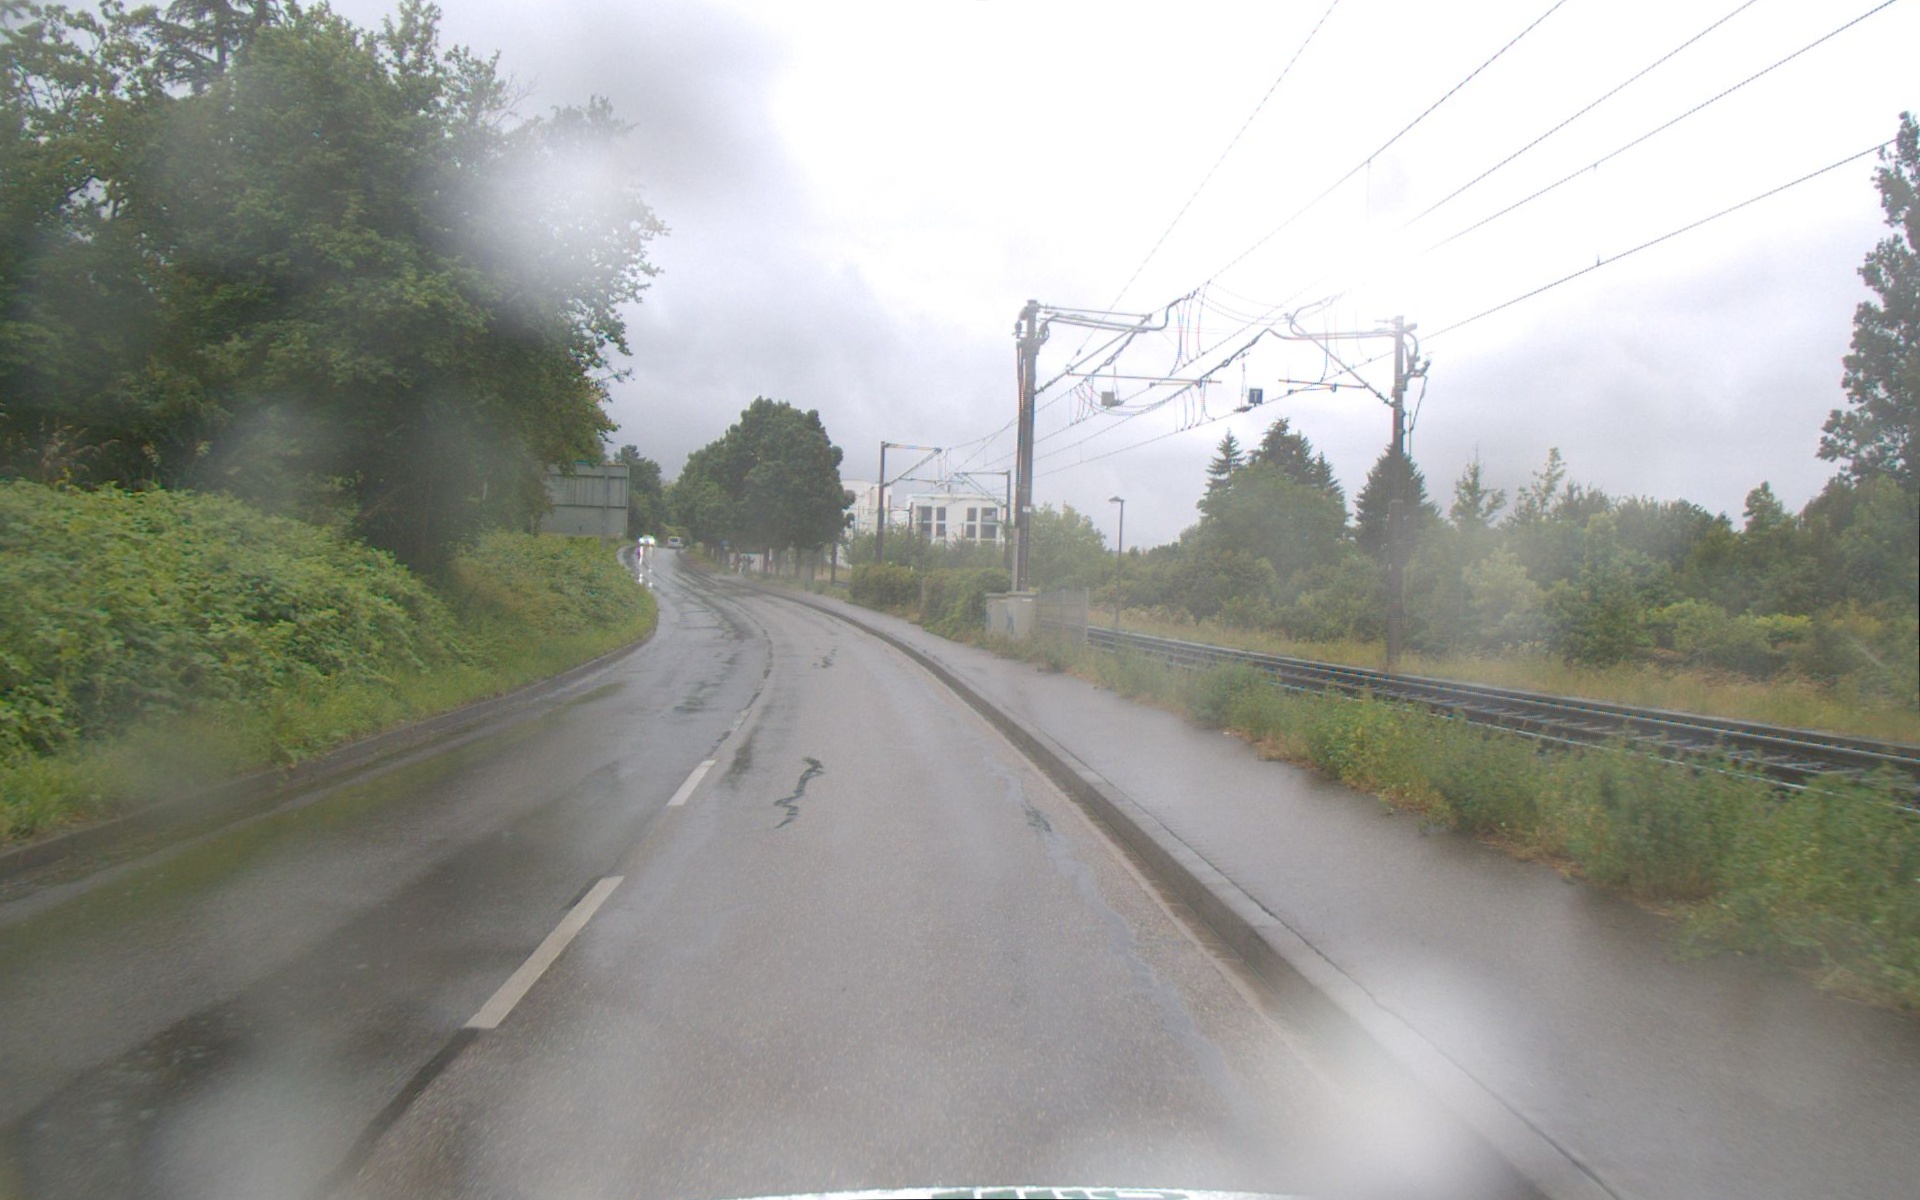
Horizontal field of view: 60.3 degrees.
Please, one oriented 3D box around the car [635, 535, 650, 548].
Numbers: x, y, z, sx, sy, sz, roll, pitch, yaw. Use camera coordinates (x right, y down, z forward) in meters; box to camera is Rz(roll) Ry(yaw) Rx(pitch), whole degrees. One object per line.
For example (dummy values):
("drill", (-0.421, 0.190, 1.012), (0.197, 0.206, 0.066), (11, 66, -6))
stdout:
("car", (-43.716, -8.084, 227.504), (1.712, 1.639, 4.082), (3, 2, -8))
